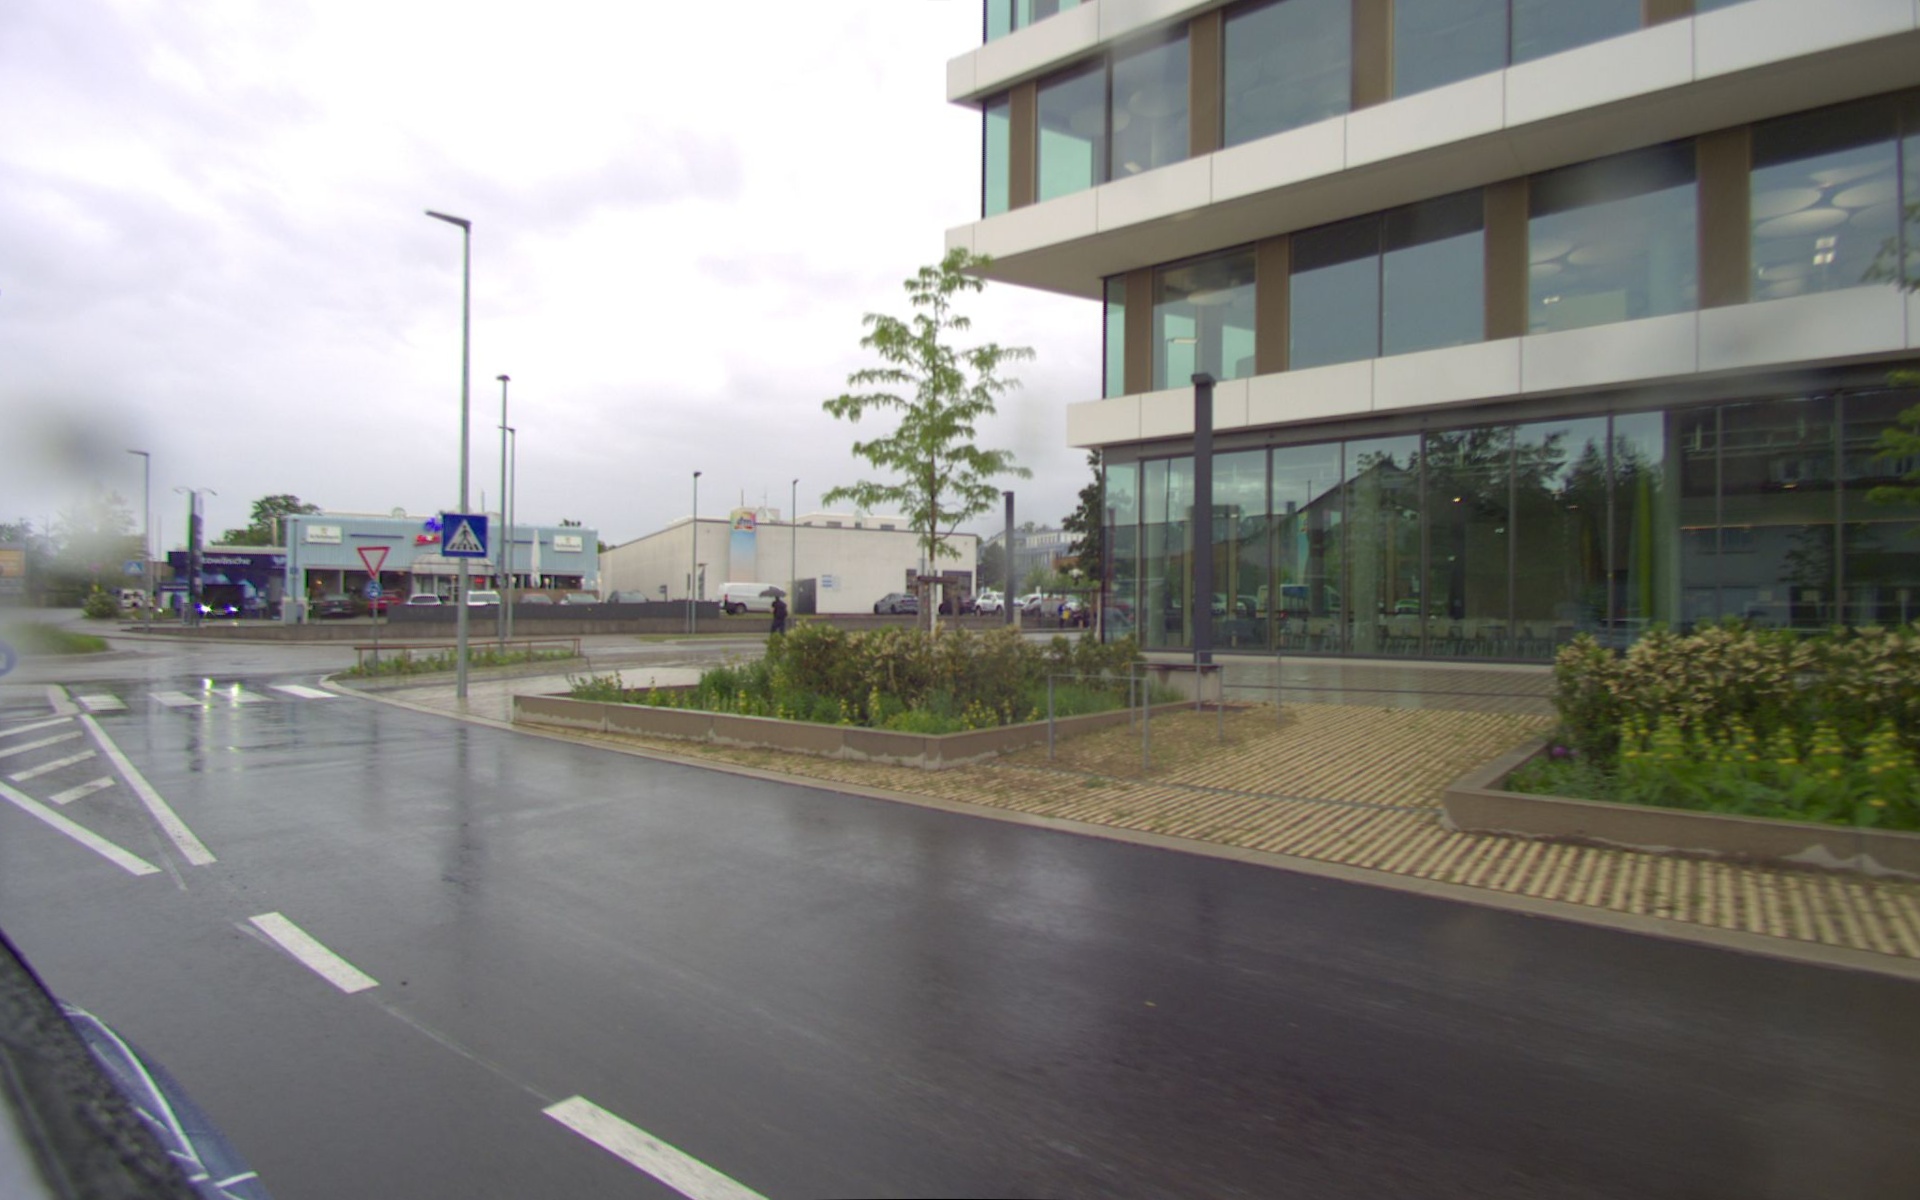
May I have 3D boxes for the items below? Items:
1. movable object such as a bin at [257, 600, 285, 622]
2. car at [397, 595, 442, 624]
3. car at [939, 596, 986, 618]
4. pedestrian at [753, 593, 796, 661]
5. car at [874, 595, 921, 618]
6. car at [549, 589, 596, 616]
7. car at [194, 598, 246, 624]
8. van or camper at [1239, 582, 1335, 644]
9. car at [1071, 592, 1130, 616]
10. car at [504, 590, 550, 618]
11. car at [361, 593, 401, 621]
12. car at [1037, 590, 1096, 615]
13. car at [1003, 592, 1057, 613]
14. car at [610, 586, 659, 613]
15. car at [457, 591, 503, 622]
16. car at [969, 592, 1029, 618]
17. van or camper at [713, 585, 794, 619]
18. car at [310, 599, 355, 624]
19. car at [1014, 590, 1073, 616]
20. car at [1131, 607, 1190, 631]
[{"bbox_3d":[-42.419,0.658,62.319,1.194,1.305,1.483,-3,1,-27],"label":"movable object such as a bin"},{"bbox_3d":[-26.863,0.448,50.402,1.855,1.305,4.013,-3,1,-27],"label":"car"},{"bbox_3d":[0.147,0.548,75.130,1.764,1.564,4.012,0,-1,-29],"label":"car"},{"bbox_3d":[-5.657,0.803,30.850,0.929,2.029,0.883,-1,-1,35],"label":"pedestrian"},{"bbox_3d":[-4.516,0.492,72.533,1.764,1.564,4.012,0,-1,-29],"label":"car"},{"bbox_3d":[-20.717,0.122,54.035,1.855,1.305,4.013,-3,1,-27],"label":"car"},{"bbox_3d":[-48.086,0.724,65.837,1.888,1.541,4.013,-2,0,-25],"label":"car"},{"bbox_3d":[17.577,0.673,54.313,5.015,3.111,2.006,-2,0,-30],"label":"van or camper"},{"bbox_3d":[9.324,0.278,67.539,1.764,1.564,4.012,0,-1,-31],"label":"car"},{"bbox_3d":[-22.726,0.216,53.027,1.855,1.305,4.013,-3,1,-27],"label":"car"},{"bbox_3d":[-34.846,0.421,61.005,1.855,1.497,4.013,-3,1,-27],"label":"car"},{"bbox_3d":[6.929,0.172,66.051,1.764,1.564,4.012,0,-1,-31],"label":"car"},{"bbox_3d":[5.501,0.183,79.609,3.932,1.564,1.800,0,-1,-32],"label":"car"},{"bbox_3d":[-17.867,-0.024,55.398,1.855,1.305,4.013,-3,1,-27],"label":"car"},{"bbox_3d":[-24.791,0.347,52.191,1.764,1.564,4.012,0,-1,-31],"label":"car"},{"bbox_3d":[2.413,0.347,63.618,1.820,1.564,4.012,0,-1,-31],"label":"car"},{"bbox_3d":[-12.314,0.098,60.436,4.306,1.774,1.894,-3,1,-27],"label":"van or camper"},{"bbox_3d":[-36.798,0.662,59.404,1.855,1.305,4.013,-3,1,-27],"label":"car"},{"bbox_3d":[5.317,0.201,64.924,1.764,1.564,4.012,0,-1,-31],"label":"car"},{"bbox_3d":[13.796,1.299,69.962,1.764,1.564,4.012,0,-1,-31],"label":"car"}]
